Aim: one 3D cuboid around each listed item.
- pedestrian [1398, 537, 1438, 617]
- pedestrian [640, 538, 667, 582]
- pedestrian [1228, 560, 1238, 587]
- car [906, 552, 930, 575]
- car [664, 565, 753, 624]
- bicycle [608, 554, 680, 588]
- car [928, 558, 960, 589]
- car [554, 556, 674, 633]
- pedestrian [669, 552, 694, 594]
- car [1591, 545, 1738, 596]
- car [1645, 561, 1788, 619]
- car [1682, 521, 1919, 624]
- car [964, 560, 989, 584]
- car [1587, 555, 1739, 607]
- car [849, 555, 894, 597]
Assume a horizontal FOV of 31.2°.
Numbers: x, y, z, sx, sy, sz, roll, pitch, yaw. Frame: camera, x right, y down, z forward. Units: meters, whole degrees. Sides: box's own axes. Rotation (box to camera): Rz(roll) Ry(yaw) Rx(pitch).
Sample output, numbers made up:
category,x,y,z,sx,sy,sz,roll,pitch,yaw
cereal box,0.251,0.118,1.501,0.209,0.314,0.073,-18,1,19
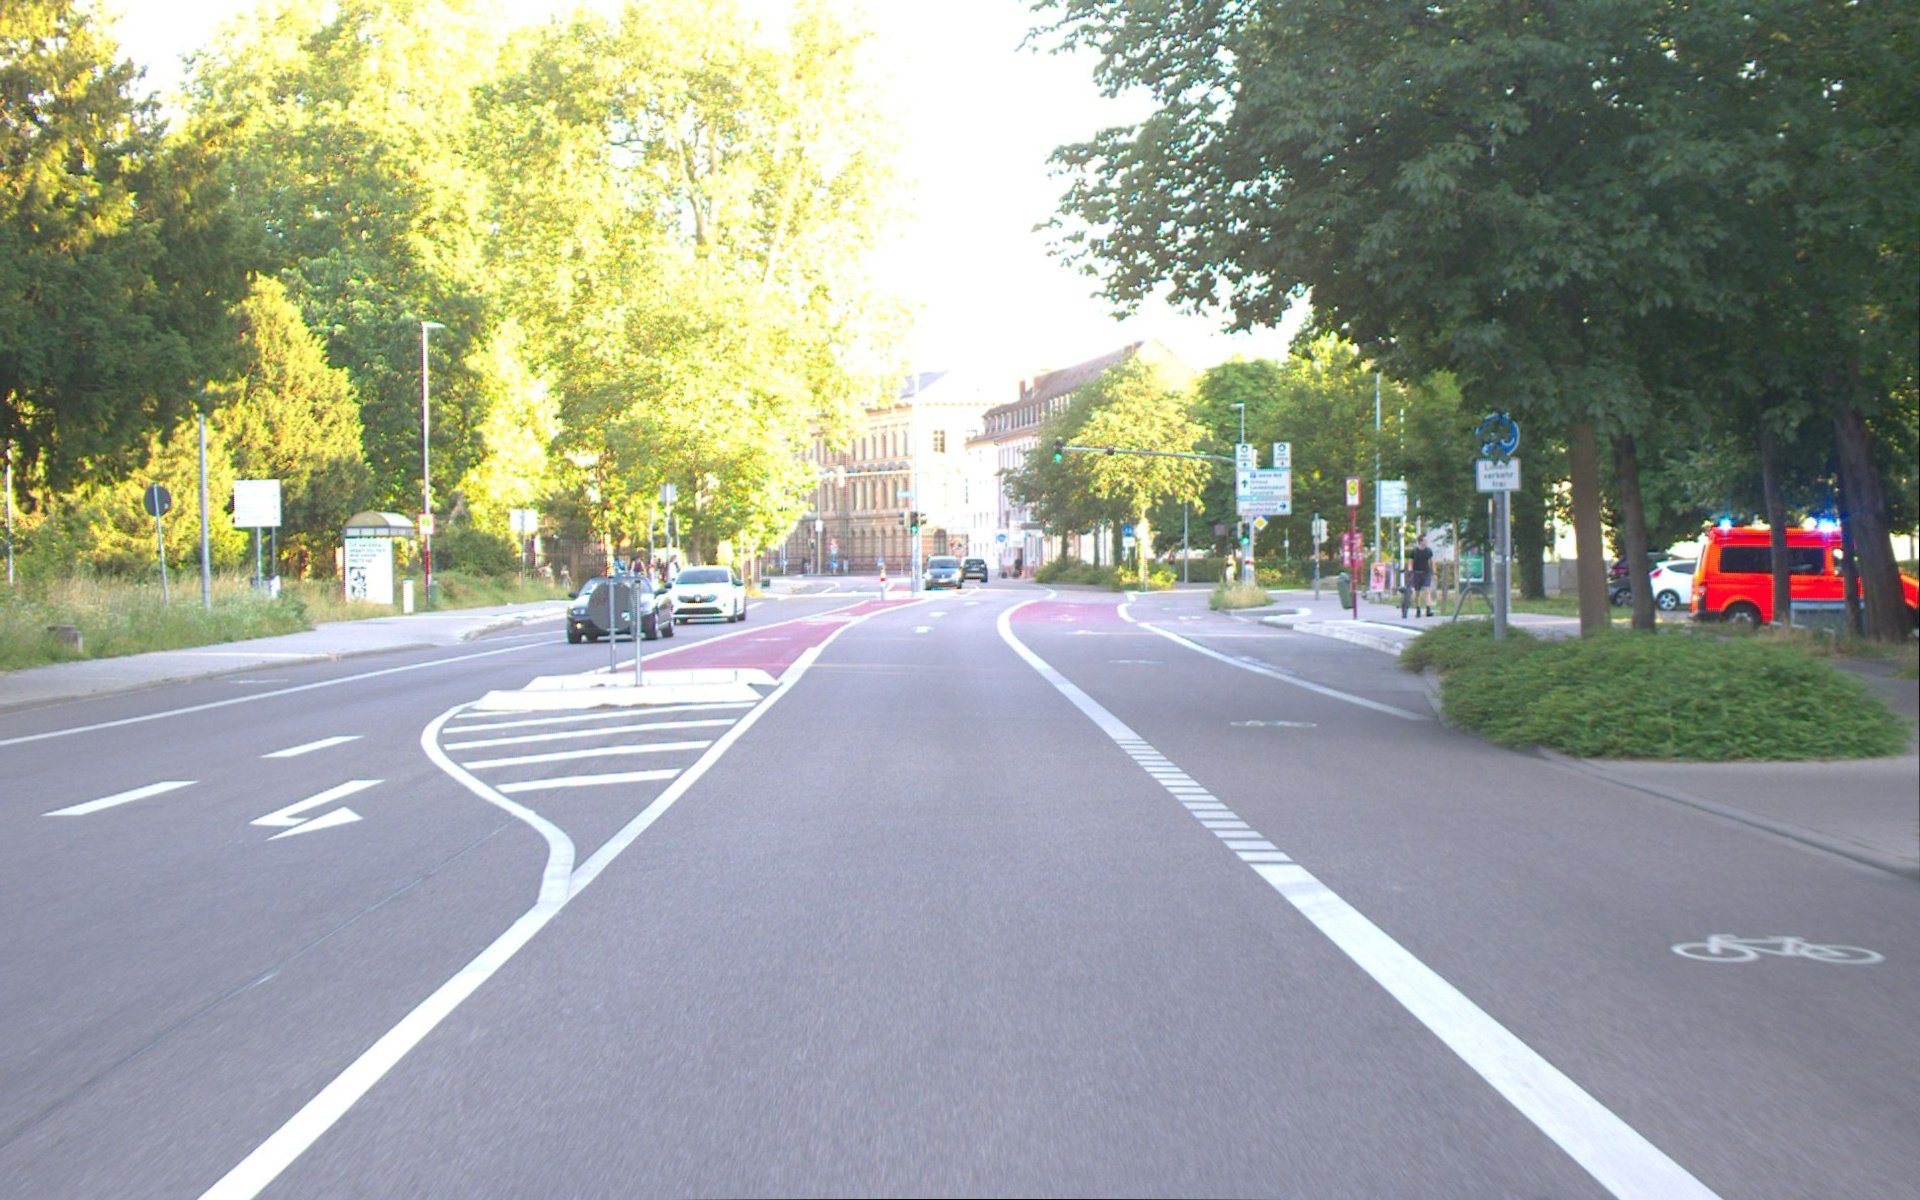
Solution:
category,x,y,z,sx,sy,sz,roll,pitch,yaw
pedestrian,10.009,-0.502,75.081,0.769,1.734,0.731,0,0,0
pedestrian,-10.966,-1.436,123.129,0.791,1.575,0.745,1,1,9
pedestrian,12.621,-1.242,158.914,0.390,1.234,0.404,0,0,0
car,-2.708,-2.371,224.279,1.493,1.481,3.491,0,1,0
car,-6.311,-0.160,86.599,1.798,1.448,4.127,0,1,2
bicycle,-11.319,-1.050,123.184,2.463,1.191,0.757,0,0,9
car,-0.782,-1.303,168.784,1.493,1.481,3.491,0,1,0
car,-6.766,-0.127,67.620,1.798,1.448,4.127,0,1,2
pedestrian,-10.504,-1.027,129.705,0.791,1.575,0.745,1,1,9
car,22.487,-0.930,109.864,4.460,1.585,1.715,0,1,7
car,21.341,-0.292,97.091,3.774,1.585,1.715,0,1,7
car,16.960,-0.551,68.469,4.912,1.983,1.921,0,1,7
car,1.016,-1.733,213.882,1.493,1.481,3.491,0,1,0
car,21.736,-0.595,106.410,4.460,1.585,1.715,0,1,7
car,-3.187,-0.865,123.795,1.493,1.481,3.491,-1,1,0
